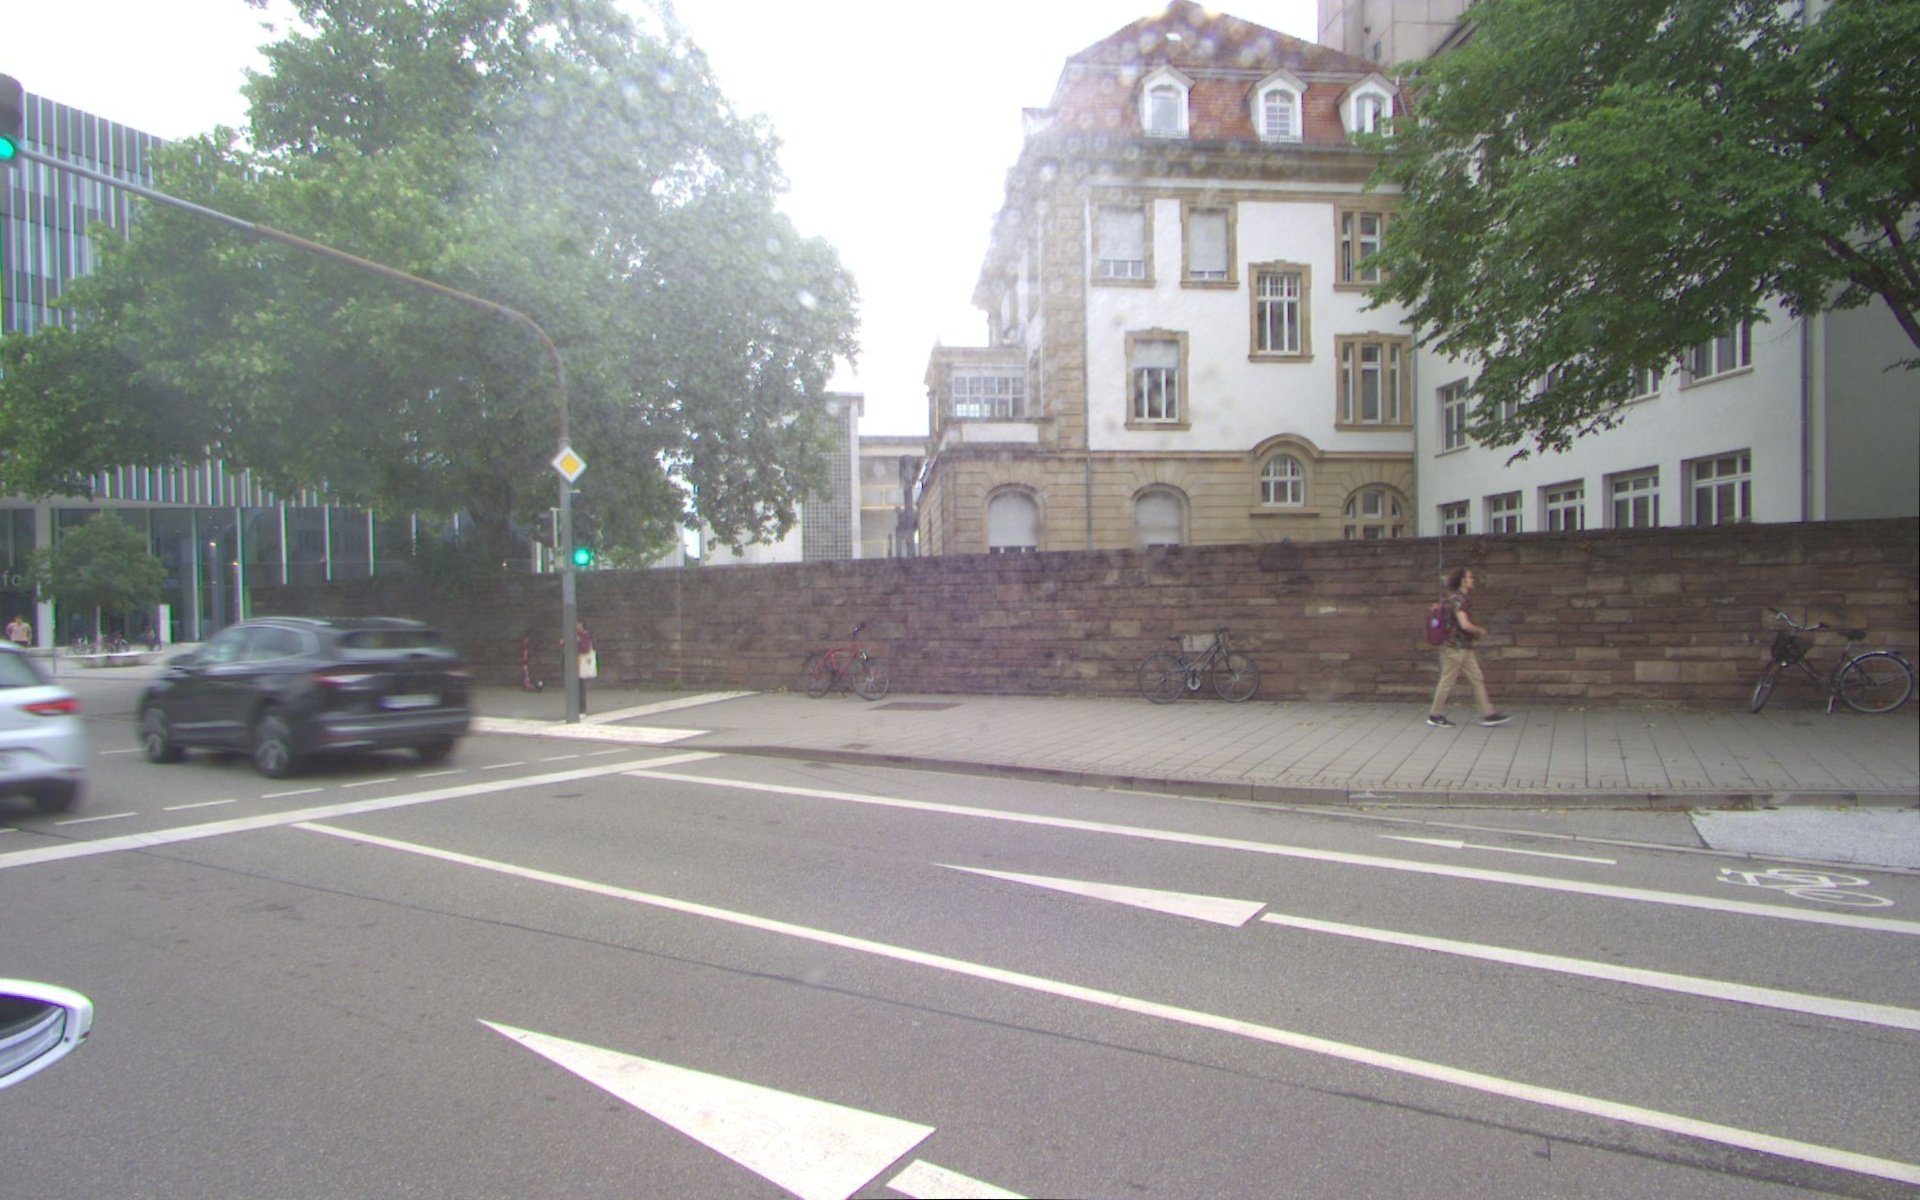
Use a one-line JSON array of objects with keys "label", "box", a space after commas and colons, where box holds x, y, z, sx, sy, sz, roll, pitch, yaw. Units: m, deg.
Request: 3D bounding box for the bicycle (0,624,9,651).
[{"label": "bicycle", "box": [-46.272, 1.808, 48.203, 0.522, 1.270, 1.652, -3, 2, -39]}]

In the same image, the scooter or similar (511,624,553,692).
[{"label": "scooter or similar", "box": [-8.365, 1.104, 19.539, 0.427, 1.195, 1.693, -3, 2, -33]}]

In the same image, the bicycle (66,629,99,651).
[{"label": "bicycle", "box": [-42.482, 1.916, 48.517, 0.686, 0.959, 1.975, -2, 1, -27]}]

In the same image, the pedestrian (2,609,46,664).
[{"label": "pedestrian", "box": [-31.683, 1.217, 33.899, 0.756, 1.789, 0.845, 0, 2, 32]}]

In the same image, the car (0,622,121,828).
[{"label": "car", "box": [-8.632, 0.927, 8.045, 3.814, 1.482, 1.779, -1, -1, 31]}]

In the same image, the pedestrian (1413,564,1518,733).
[{"label": "pedestrian", "box": [5.789, 0.531, 11.460, 1.018, 1.846, 0.629, 0, 2, 32]}]

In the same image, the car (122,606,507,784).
[{"label": "car", "box": [-7.323, 0.946, 11.259, 4.425, 1.645, 1.904, -1, -2, 31]}]

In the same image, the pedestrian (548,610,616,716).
[{"label": "pedestrian", "box": [-5.925, 0.968, 15.721, 0.627, 1.584, 0.658, 0, 5, 32]}]

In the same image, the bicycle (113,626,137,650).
[{"label": "bicycle", "box": [-40.477, 1.848, 48.558, 0.802, 1.070, 1.933, -2, 2, -38]}]

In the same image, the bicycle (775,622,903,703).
[{"label": "bicycle", "box": [-1.974, 0.986, 16.294, 1.923, 1.190, 0.802, 0, 3, 27]}]

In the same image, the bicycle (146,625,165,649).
[{"label": "bicycle", "box": [-39.225, 1.810, 48.838, 0.616, 1.070, 1.933, -2, 2, -38]}]

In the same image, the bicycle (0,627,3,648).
[{"label": "bicycle", "box": [-48.435, 1.888, 49.936, 0.613, 1.060, 1.696, -2, 2, -31]}]

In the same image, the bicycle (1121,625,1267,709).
[{"label": "bicycle", "box": [3.318, 0.929, 14.143, 1.934, 1.088, 0.941, -1, 2, 17]}]

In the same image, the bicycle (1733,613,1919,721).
[{"label": "bicycle", "box": [10.167, 0.746, 11.476, 1.889, 1.143, 0.849, -1, 2, 17]}]

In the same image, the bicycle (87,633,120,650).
[{"label": "bicycle", "box": [-41.614, 1.992, 48.679, 0.510, 0.726, 1.525, -1, 1, -11]}]
